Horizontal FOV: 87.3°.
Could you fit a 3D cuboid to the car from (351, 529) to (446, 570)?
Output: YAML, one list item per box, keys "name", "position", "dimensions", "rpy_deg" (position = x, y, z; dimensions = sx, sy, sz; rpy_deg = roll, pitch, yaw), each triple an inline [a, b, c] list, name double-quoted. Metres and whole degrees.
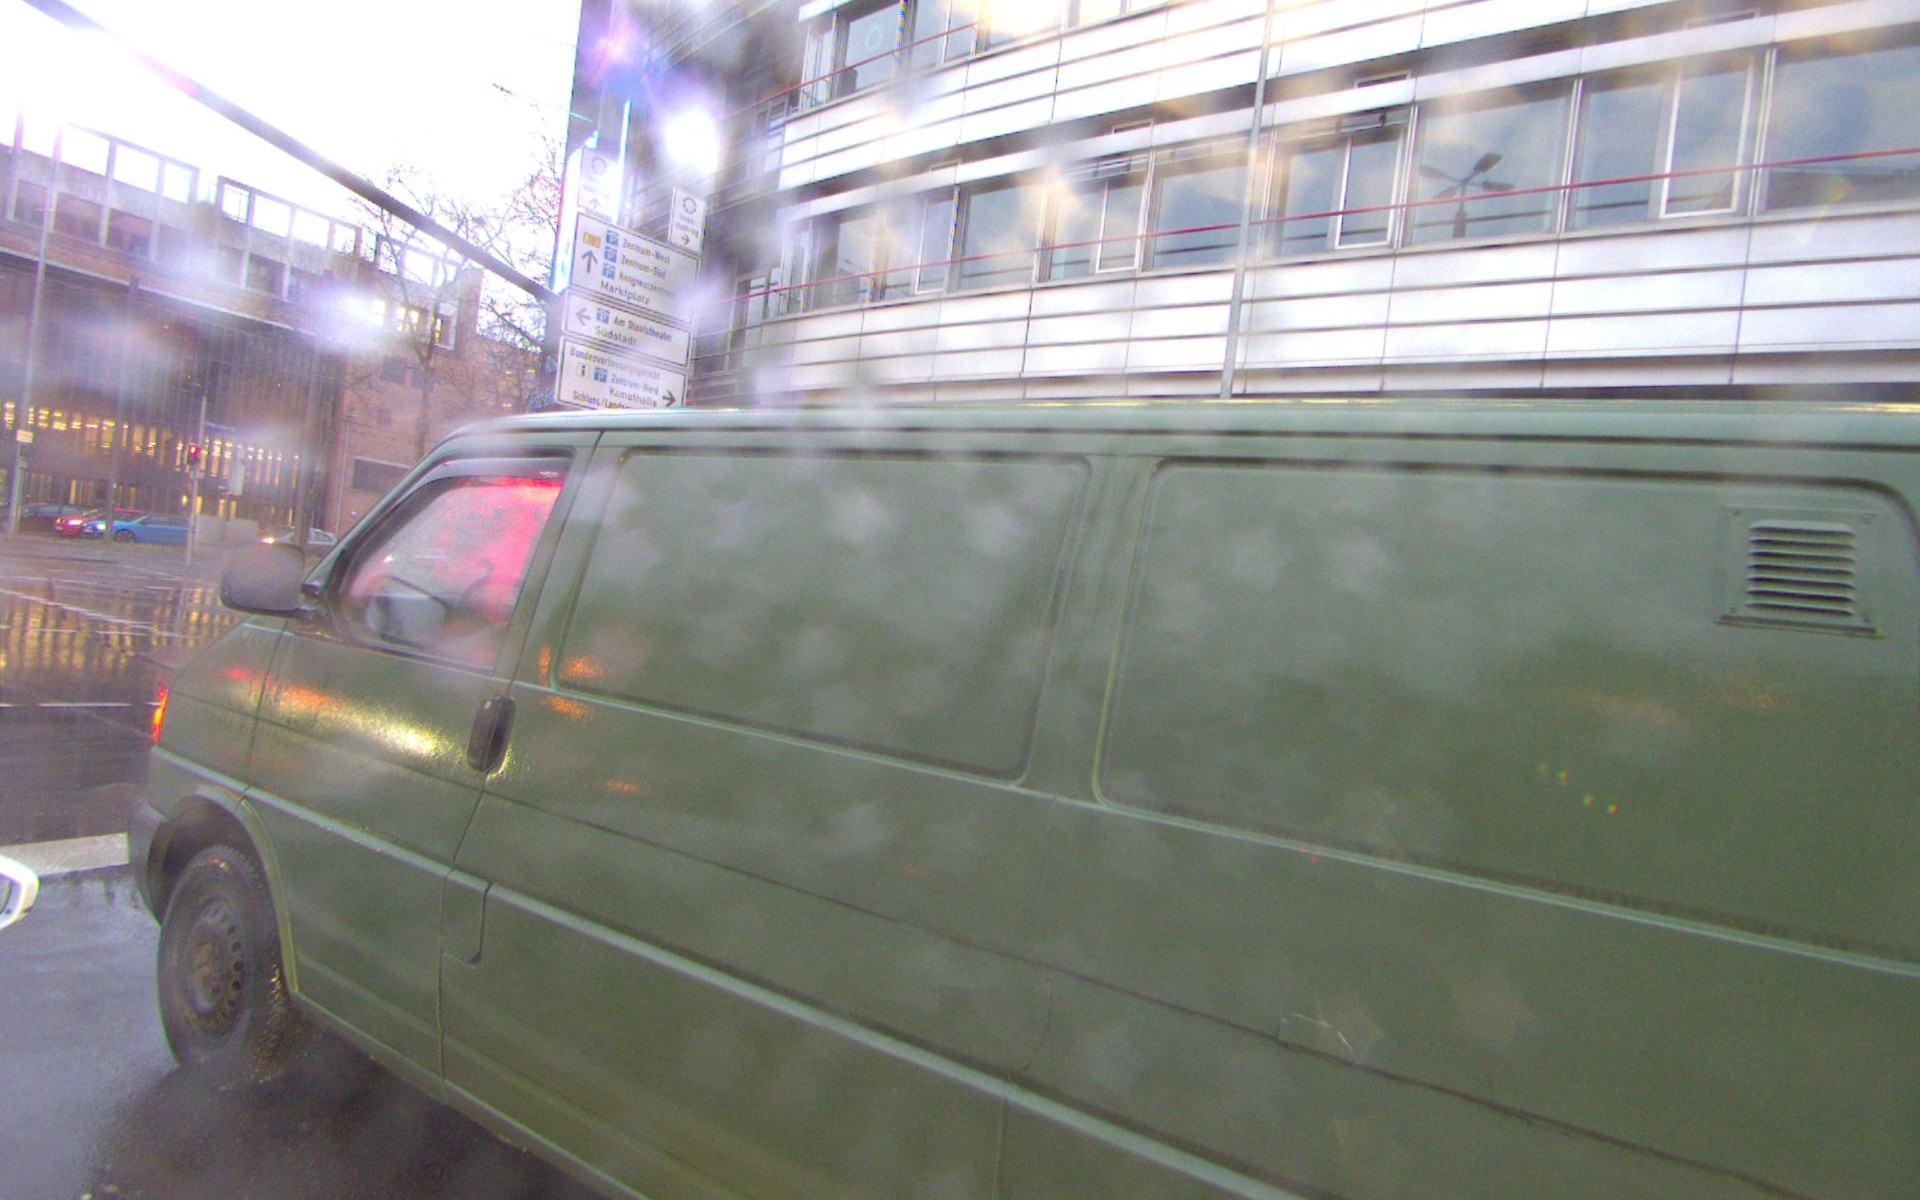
- name: "car"
  position: [-30.174, -2.697, 54.132]
  dimensions: [1.814, 1.523, 3.997]
  rpy_deg: [11, 1, 26]

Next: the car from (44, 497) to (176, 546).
- name: "car"
  position: [-35.489, -3.251, 42.103]
  dimensions: [1.814, 1.278, 3.729]
  rpy_deg: [11, 1, 26]

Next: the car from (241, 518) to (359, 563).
- name: "car"
  position: [-29.642, -2.659, 45.306]
  dimensions: [1.814, 1.304, 3.997]
  rpy_deg: [11, 1, 26]

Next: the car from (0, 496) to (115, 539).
- name: "car"
  position: [-39.217, -3.565, 43.211]
  dimensions: [1.965, 1.326, 3.994]
  rpy_deg: [7, 0, 28]

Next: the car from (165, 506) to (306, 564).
- name: "car"
  position: [-28.310, -2.511, 39.442]
  dimensions: [1.814, 1.523, 3.997]
  rpy_deg: [11, 1, 26]

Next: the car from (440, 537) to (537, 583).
- name: "car"
  position: [-23.569, -1.980, 50.407]
  dimensions: [1.814, 1.621, 3.997]
  rpy_deg: [11, 1, 26]

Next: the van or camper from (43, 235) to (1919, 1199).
- name: "van or camper"
  position: [-0.342, 0.529, 2.624]
  dimensions: [4.345, 1.929, 1.760]
  rpy_deg: [7, -1, 32]

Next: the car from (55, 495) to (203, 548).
- name: "car"
  position: [-32.447, -3.035, 39.384]
  dimensions: [1.814, 1.278, 3.997]
  rpy_deg: [11, 1, 26]

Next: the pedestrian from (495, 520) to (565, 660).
- name: "pedestrian"
  position: [-7.038, -0.159, 16.483]
  dimensions: [0.609, 2.210, 0.576]
  rpy_deg: [6, 0, 26]
